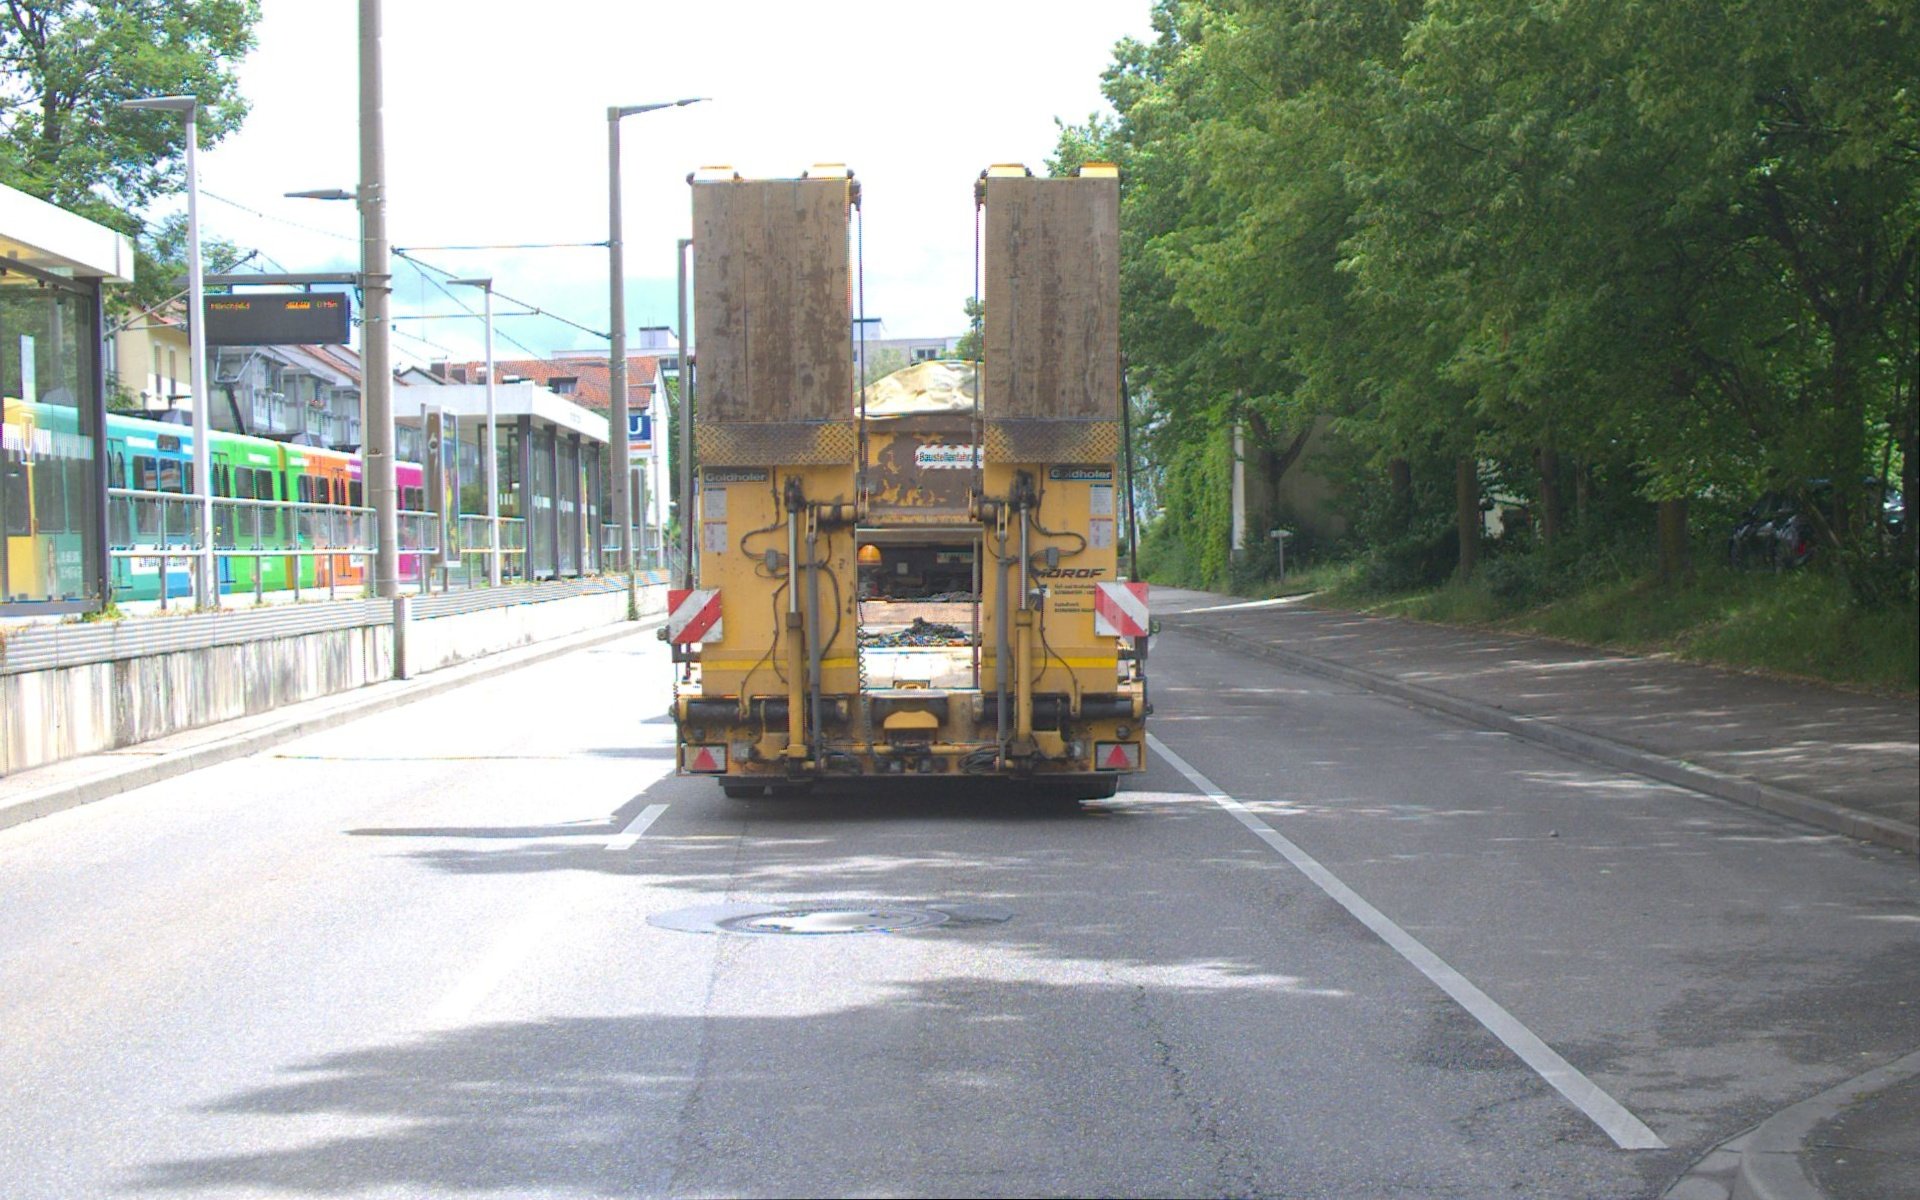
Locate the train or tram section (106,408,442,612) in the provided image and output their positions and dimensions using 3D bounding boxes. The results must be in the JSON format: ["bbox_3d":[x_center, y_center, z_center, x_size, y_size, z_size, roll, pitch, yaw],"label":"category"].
[{"bbox_3d":[-13.142,-1.725,68.171,3.108,3.453,19.091,1,1,-1],"label":"train or tram section"}]

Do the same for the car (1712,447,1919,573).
[{"bbox_3d":[11.489,-1.194,46.376,1.715,1.502,4.160,-4,1,0],"label":"car"}]

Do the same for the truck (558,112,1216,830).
[{"bbox_3d":[-0.749,-0.823,24.936,3.402,3.719,13.741,-1,1,-3],"label":"truck"}]

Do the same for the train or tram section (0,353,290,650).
[{"bbox_3d":[-12.847,-1.343,49.022,3.108,3.453,19.200,1,1,-1],"label":"train or tram section"}]
